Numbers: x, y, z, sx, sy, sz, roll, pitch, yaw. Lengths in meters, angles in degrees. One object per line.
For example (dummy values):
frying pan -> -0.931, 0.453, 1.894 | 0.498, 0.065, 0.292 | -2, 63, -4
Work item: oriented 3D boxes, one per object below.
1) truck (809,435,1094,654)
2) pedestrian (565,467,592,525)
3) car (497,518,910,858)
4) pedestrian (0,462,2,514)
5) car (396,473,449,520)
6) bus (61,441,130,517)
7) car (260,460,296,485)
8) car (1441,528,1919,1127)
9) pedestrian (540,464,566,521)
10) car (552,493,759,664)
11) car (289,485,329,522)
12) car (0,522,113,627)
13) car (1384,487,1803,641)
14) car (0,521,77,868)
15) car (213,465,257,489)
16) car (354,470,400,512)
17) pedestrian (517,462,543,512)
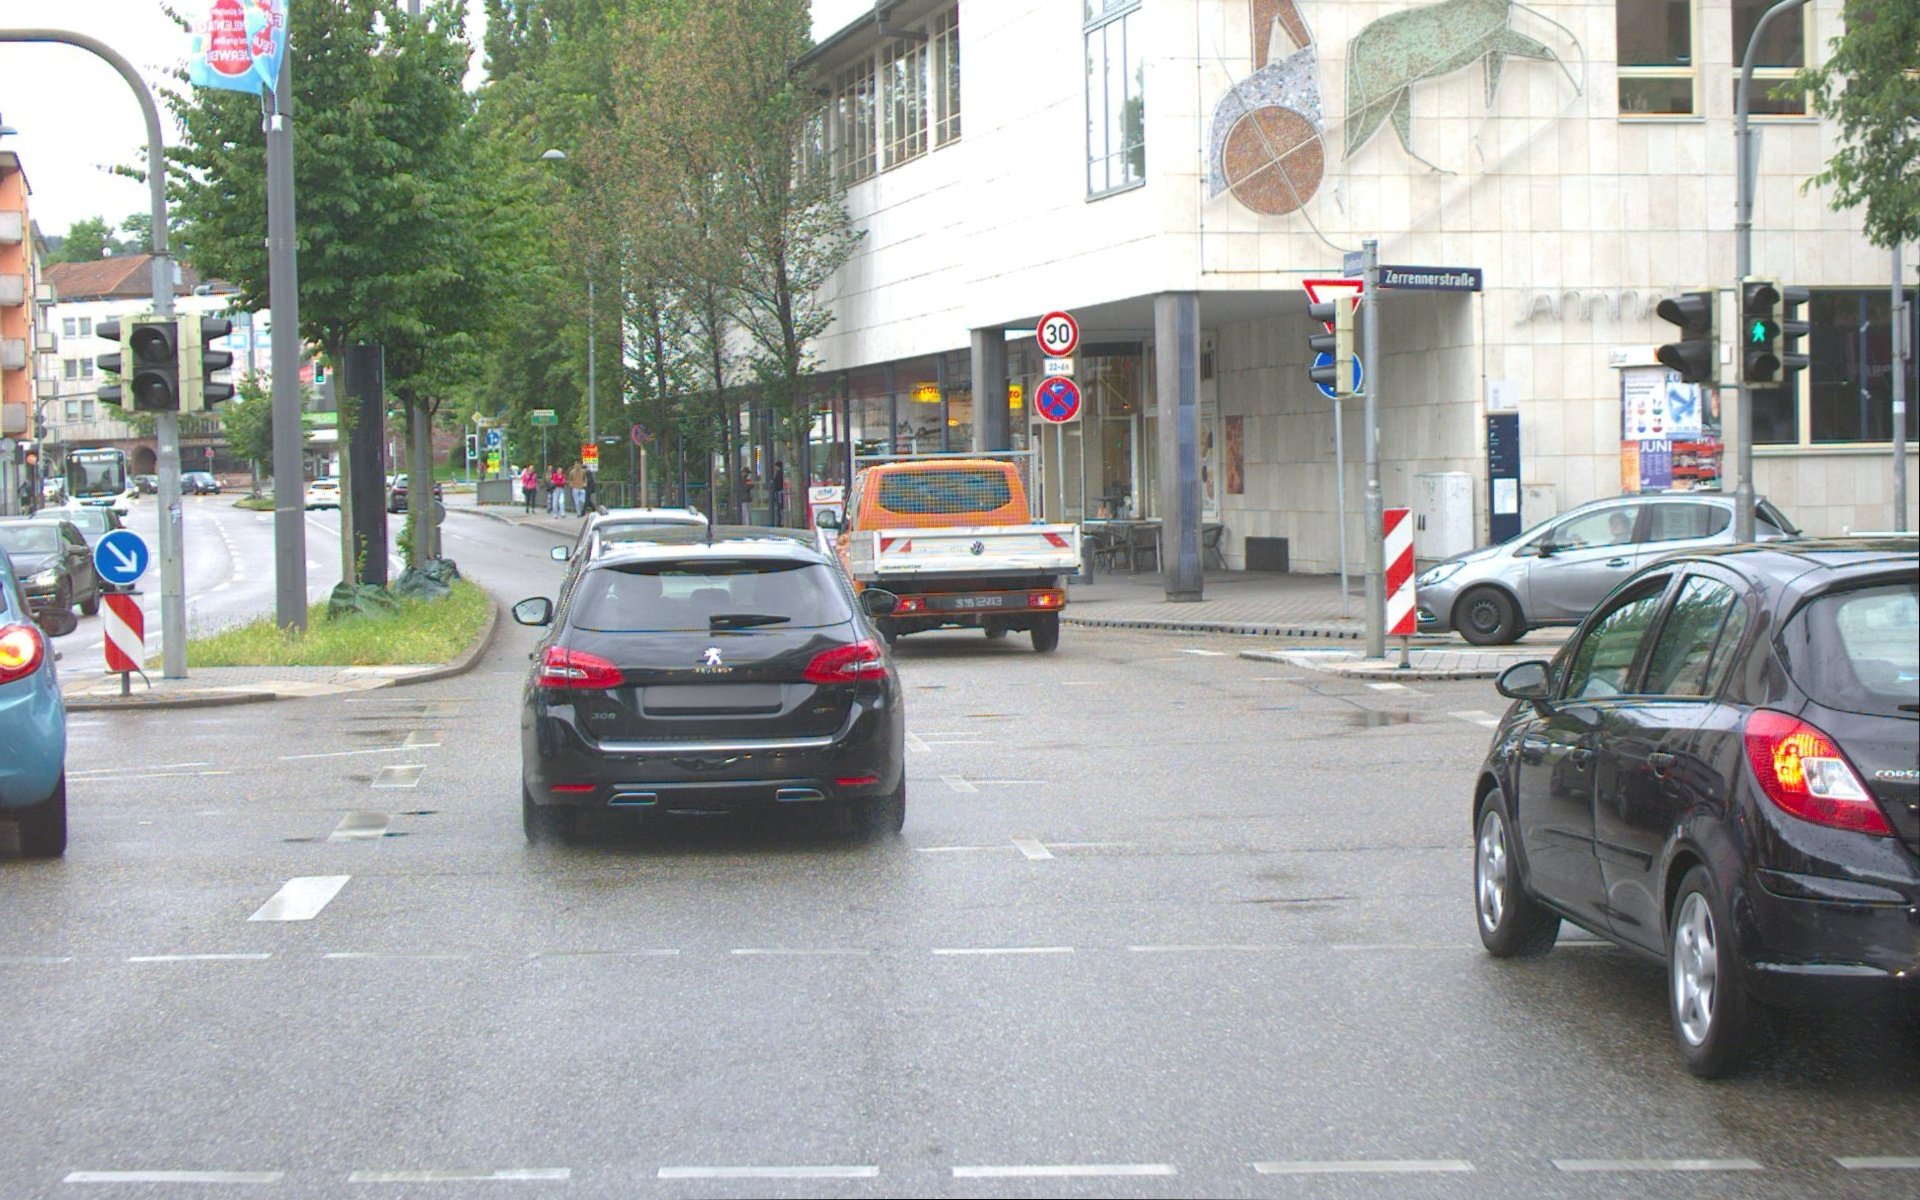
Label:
truck -> -0.178, -0.580, 34.935 | 2.121, 2.018, 4.717 | -2, 1, -9
pedestrian -> -12.033, -3.288, 108.447 | 0.698, 1.795, 0.607 | -3, 3, -13
car -> -1.172, 0.344, 17.008 | 1.795, 1.478, 4.000 | 0, 1, -1
pedestrian -> -33.802, -3.901, 119.712 | 0.797, 1.787, 0.812 | -1, 1, -11
car -> -19.744, -3.779, 126.261 | 1.644, 1.559, 3.601 | 1, -1, -13
bus -> -38.837, -5.493, 154.262 | 2.743, 3.064, 12.242 | -2, 4, -15
car -> -46.431, -8.665, 234.028 | 1.993, 1.678, 4.002 | -2, 2, -16
car -> 2.700, 0.529, 10.496 | 1.708, 1.452, 3.743 | 0, 2, -4
pedestrian -> -12.832, -3.399, 108.345 | 0.653, 1.761, 0.923 | -3, 3, -13
car -> -2.953, -0.256, 32.744 | 1.794, 1.478, 4.001 | -2, 2, -7
car -> -30.026, -4.430, 158.519 | 1.644, 1.559, 3.601 | 1, -1, -13
car -> -13.581, -0.373, 49.750 | 1.757, 1.415, 4.097 | -3, 1, -3
car -> 6.304, -0.367, 34.282 | 3.989, 1.471, 1.999 | 0, 1, 11
car -> -5.291, 0.389, 16.602 | 1.695, 1.469, 3.692 | -1, 2, -19
car -> -51.516, -8.744, 244.161 | 1.645, 1.559, 3.599 | 2, -1, -38
car -> -24.096, -4.503, 141.979 | 1.644, 1.559, 3.601 | 1, -1, -13
pedestrian -> -14.297, -3.767, 114.236 | 0.717, 1.614, 0.770 | -3, 3, -13
